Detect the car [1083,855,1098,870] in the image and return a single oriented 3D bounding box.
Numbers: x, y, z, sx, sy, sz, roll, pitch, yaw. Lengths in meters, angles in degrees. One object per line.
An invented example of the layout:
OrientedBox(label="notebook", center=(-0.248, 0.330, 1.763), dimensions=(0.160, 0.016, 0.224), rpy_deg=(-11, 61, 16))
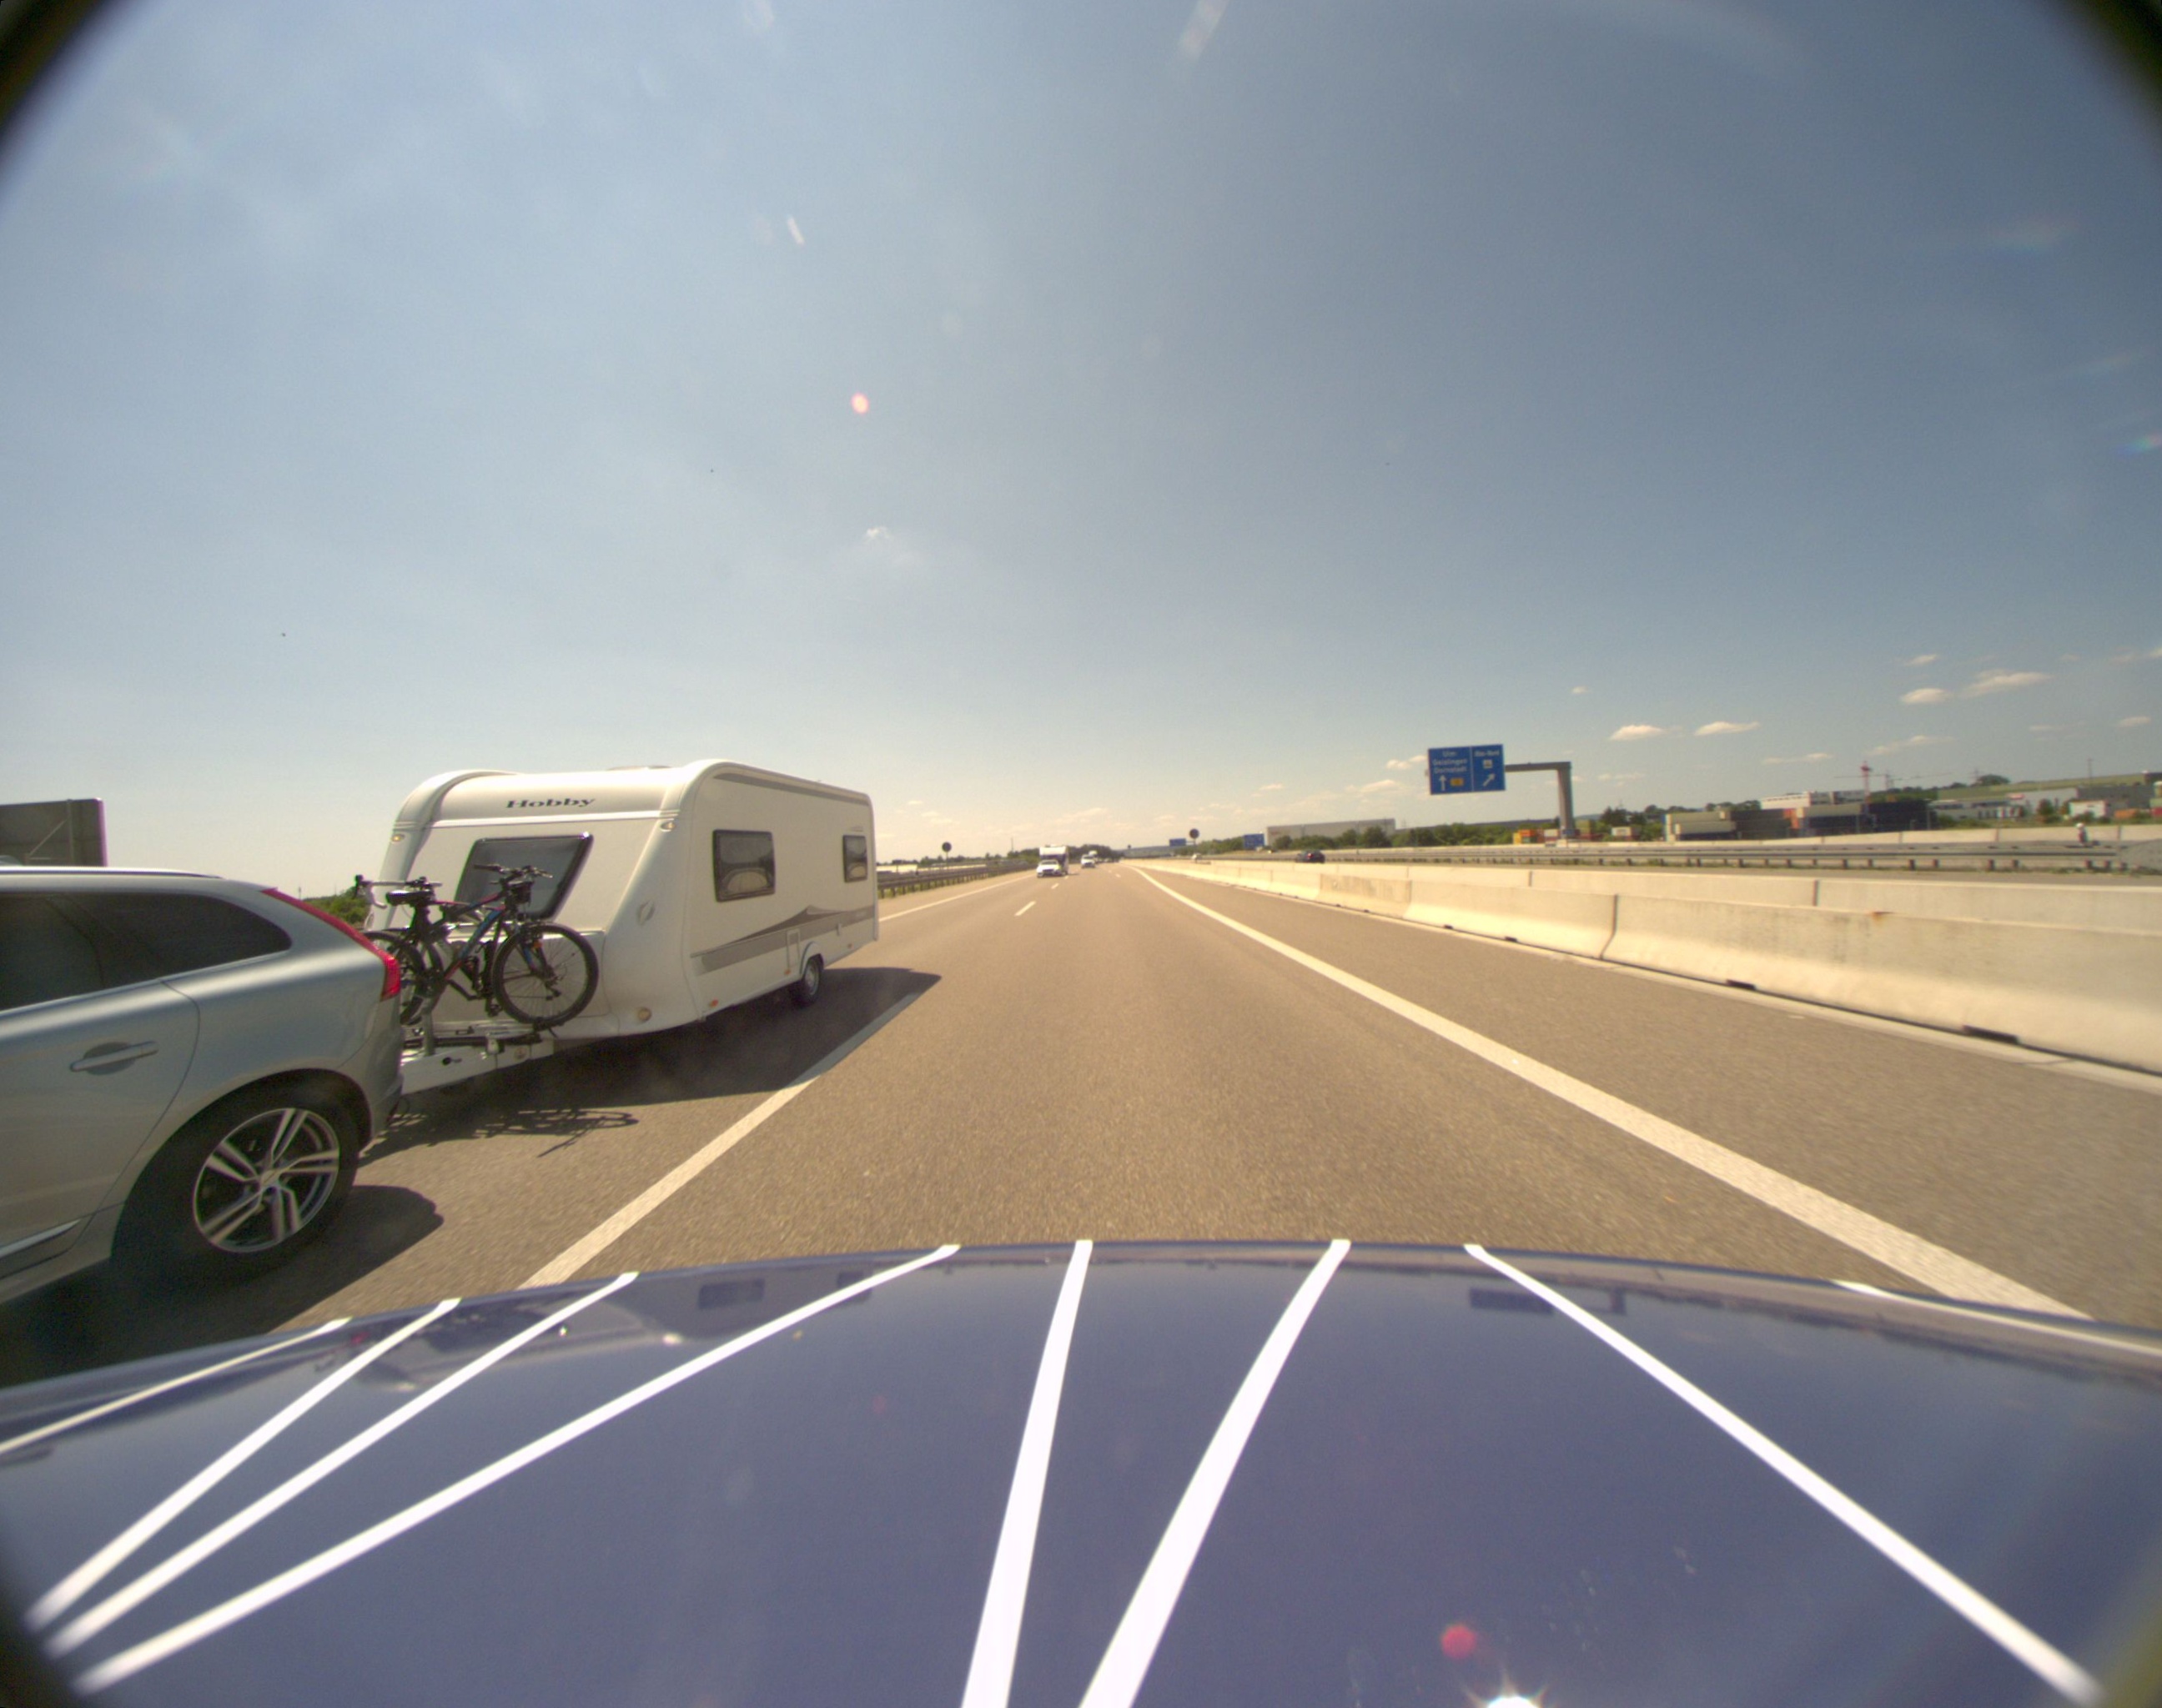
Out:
OrientedBox(label="car", center=(1.320, 1.139, 107.075), dimensions=(1.998, 2.002, 4.000), rpy_deg=(-2, 0, 1))

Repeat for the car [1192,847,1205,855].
OrientedBox(label="car", center=(22.428, -0.531, 145.397), dimensions=(1.814, 1.427, 4.442), rpy_deg=(-3, 0, 1))

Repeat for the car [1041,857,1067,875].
OrientedBox(label="car", center=(-2.181, 0.964, 62.430), dimensions=(1.872, 1.352, 3.673), rpy_deg=(-1, 0, 3))

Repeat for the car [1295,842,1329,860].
OrientedBox(label="car", center=(20.879, -0.259, 68.841), dimensions=(1.737, 1.527, 4.549), rpy_deg=(-3, 0, 1))

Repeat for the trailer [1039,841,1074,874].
OrientedBox(label="trailer", center=(-2.126, 0.291, 67.870), dimensions=(2.500, 2.686, 7.156), rpy_deg=(-2, 0, 3))

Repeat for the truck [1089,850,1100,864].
OrientedBox(label="truck", center=(2.775, 0.594, 160.840), dimensions=(2.168, 2.797, 6.490), rpy_deg=(-2, 0, 1))

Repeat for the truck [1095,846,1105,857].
OrientedBox(label="truck", center=(4.730, -0.637, 188.654), dimensions=(2.168, 2.797, 6.492), rpy_deg=(-2, 0, 4))

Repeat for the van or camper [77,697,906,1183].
OrientedBox(label="van or camper", center=(-4.152, 0.500, 8.087), dimensions=(2.518, 2.577, 7.818), rpy_deg=(-2, 0, 1))

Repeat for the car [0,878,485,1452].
OrientedBox(label="car", center=(-4.127, 0.969, 1.511), dimensions=(1.885, 1.613, 4.904), rpy_deg=(-2, 0, 1))
